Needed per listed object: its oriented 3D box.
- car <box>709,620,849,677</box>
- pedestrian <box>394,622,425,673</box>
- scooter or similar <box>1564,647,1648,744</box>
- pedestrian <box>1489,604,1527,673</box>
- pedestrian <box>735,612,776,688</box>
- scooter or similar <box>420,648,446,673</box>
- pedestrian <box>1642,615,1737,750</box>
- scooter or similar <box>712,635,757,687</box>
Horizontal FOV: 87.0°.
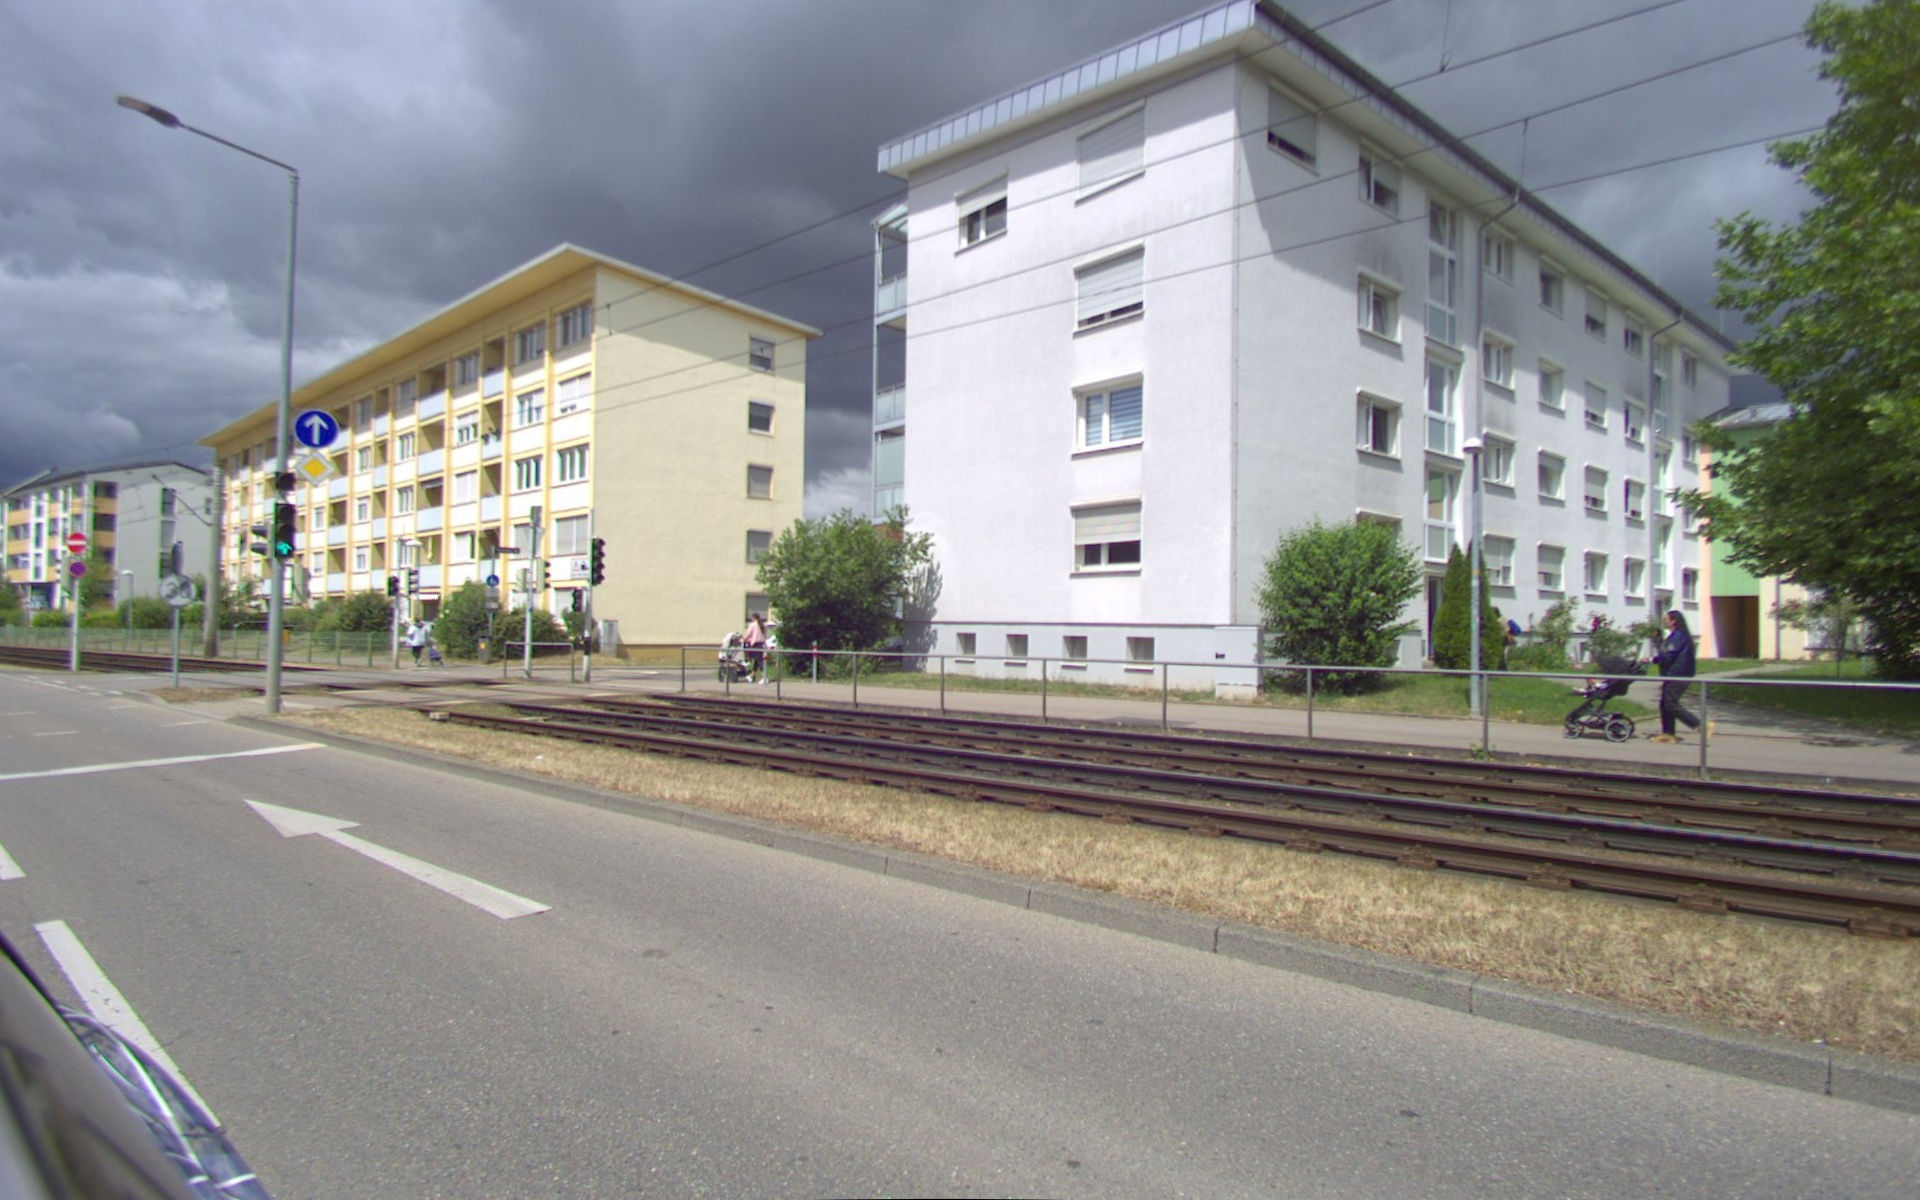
[{"bbox_3d":[-5.851,1.536,33.047,4.227,1.742,1.811,2,-2,-44],"label":"car"},{"bbox_3d":[-17.776,1.518,32.674,0.773,1.620,0.598,-1,-3,39],"label":"pedestrian"},{"bbox_3d":[8.061,1.168,12.629,0.820,1.123,0.598,-1,-1,39],"label":"scooter or similar"},{"bbox_3d":[12.974,0.901,23.957,0.675,1.553,0.515,-1,4,-44],"label":"pedestrian"},{"bbox_3d":[-4.661,1.131,23.088,0.679,1.705,0.638,-1,-1,41],"label":"pedestrian"},{"bbox_3d":[-17.045,1.952,32.740,0.665,0.779,0.527,-1,-3,39],"label":"scooter or similar"},{"bbox_3d":[8.717,0.952,12.095,0.873,1.552,0.607,-1,-1,39],"label":"pedestrian"},{"bbox_3d":[-5.258,1.406,23.604,0.891,1.172,0.602,-1,-2,41],"label":"scooter or similar"}]
